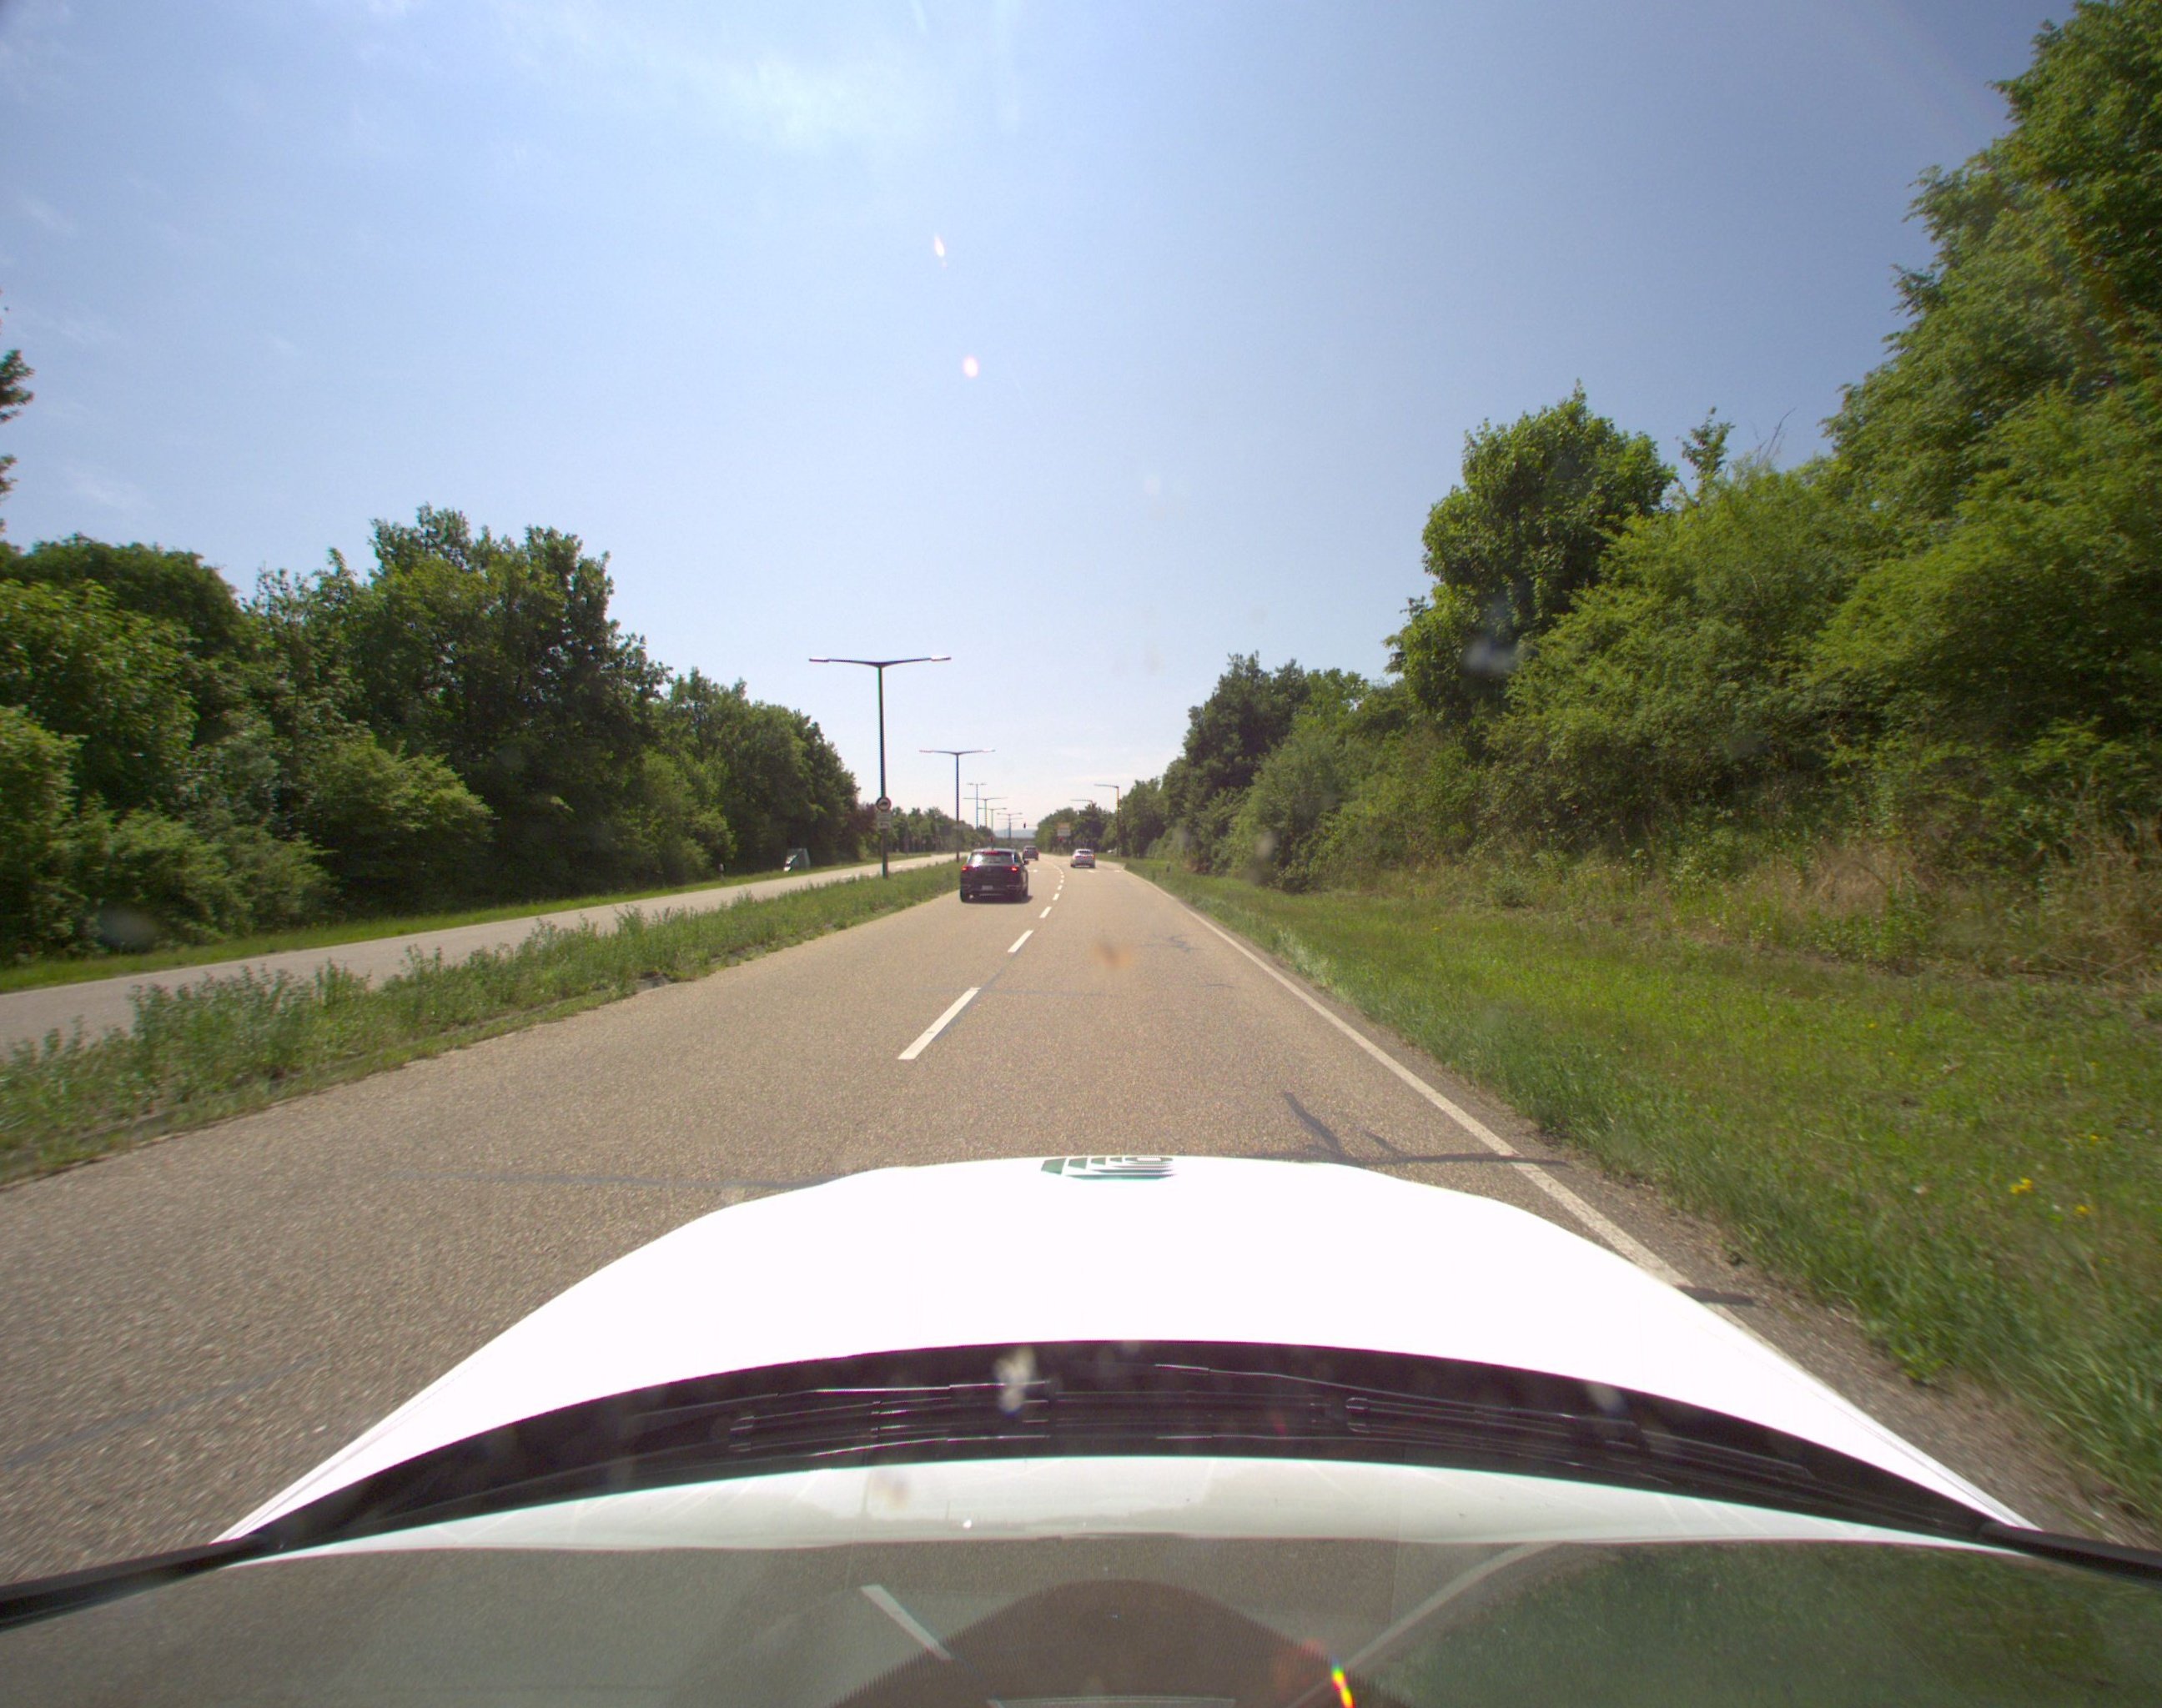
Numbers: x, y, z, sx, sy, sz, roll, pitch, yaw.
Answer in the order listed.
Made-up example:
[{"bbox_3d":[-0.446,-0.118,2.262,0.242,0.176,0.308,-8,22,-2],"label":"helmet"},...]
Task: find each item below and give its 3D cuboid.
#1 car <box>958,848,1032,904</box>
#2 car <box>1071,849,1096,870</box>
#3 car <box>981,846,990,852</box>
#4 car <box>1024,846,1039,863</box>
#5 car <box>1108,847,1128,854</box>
[{"bbox_3d":[-2.526,0.616,24.795,1.749,1.556,4.001,0,0,1],"label":"car"},{"bbox_3d":[0.130,0.400,64.027,1.793,1.583,3.996,0,0,-2],"label":"car"},{"bbox_3d":[-22.415,-1.219,191.522,1.823,1.519,3.997,0,0,-2],"label":"car"},{"bbox_3d":[-6.027,0.038,98.265,1.752,1.928,3.994,0,0,-4],"label":"car"},{"bbox_3d":[8.246,-0.866,180.437,4.105,1.525,1.930,0,0,-13],"label":"car"}]
